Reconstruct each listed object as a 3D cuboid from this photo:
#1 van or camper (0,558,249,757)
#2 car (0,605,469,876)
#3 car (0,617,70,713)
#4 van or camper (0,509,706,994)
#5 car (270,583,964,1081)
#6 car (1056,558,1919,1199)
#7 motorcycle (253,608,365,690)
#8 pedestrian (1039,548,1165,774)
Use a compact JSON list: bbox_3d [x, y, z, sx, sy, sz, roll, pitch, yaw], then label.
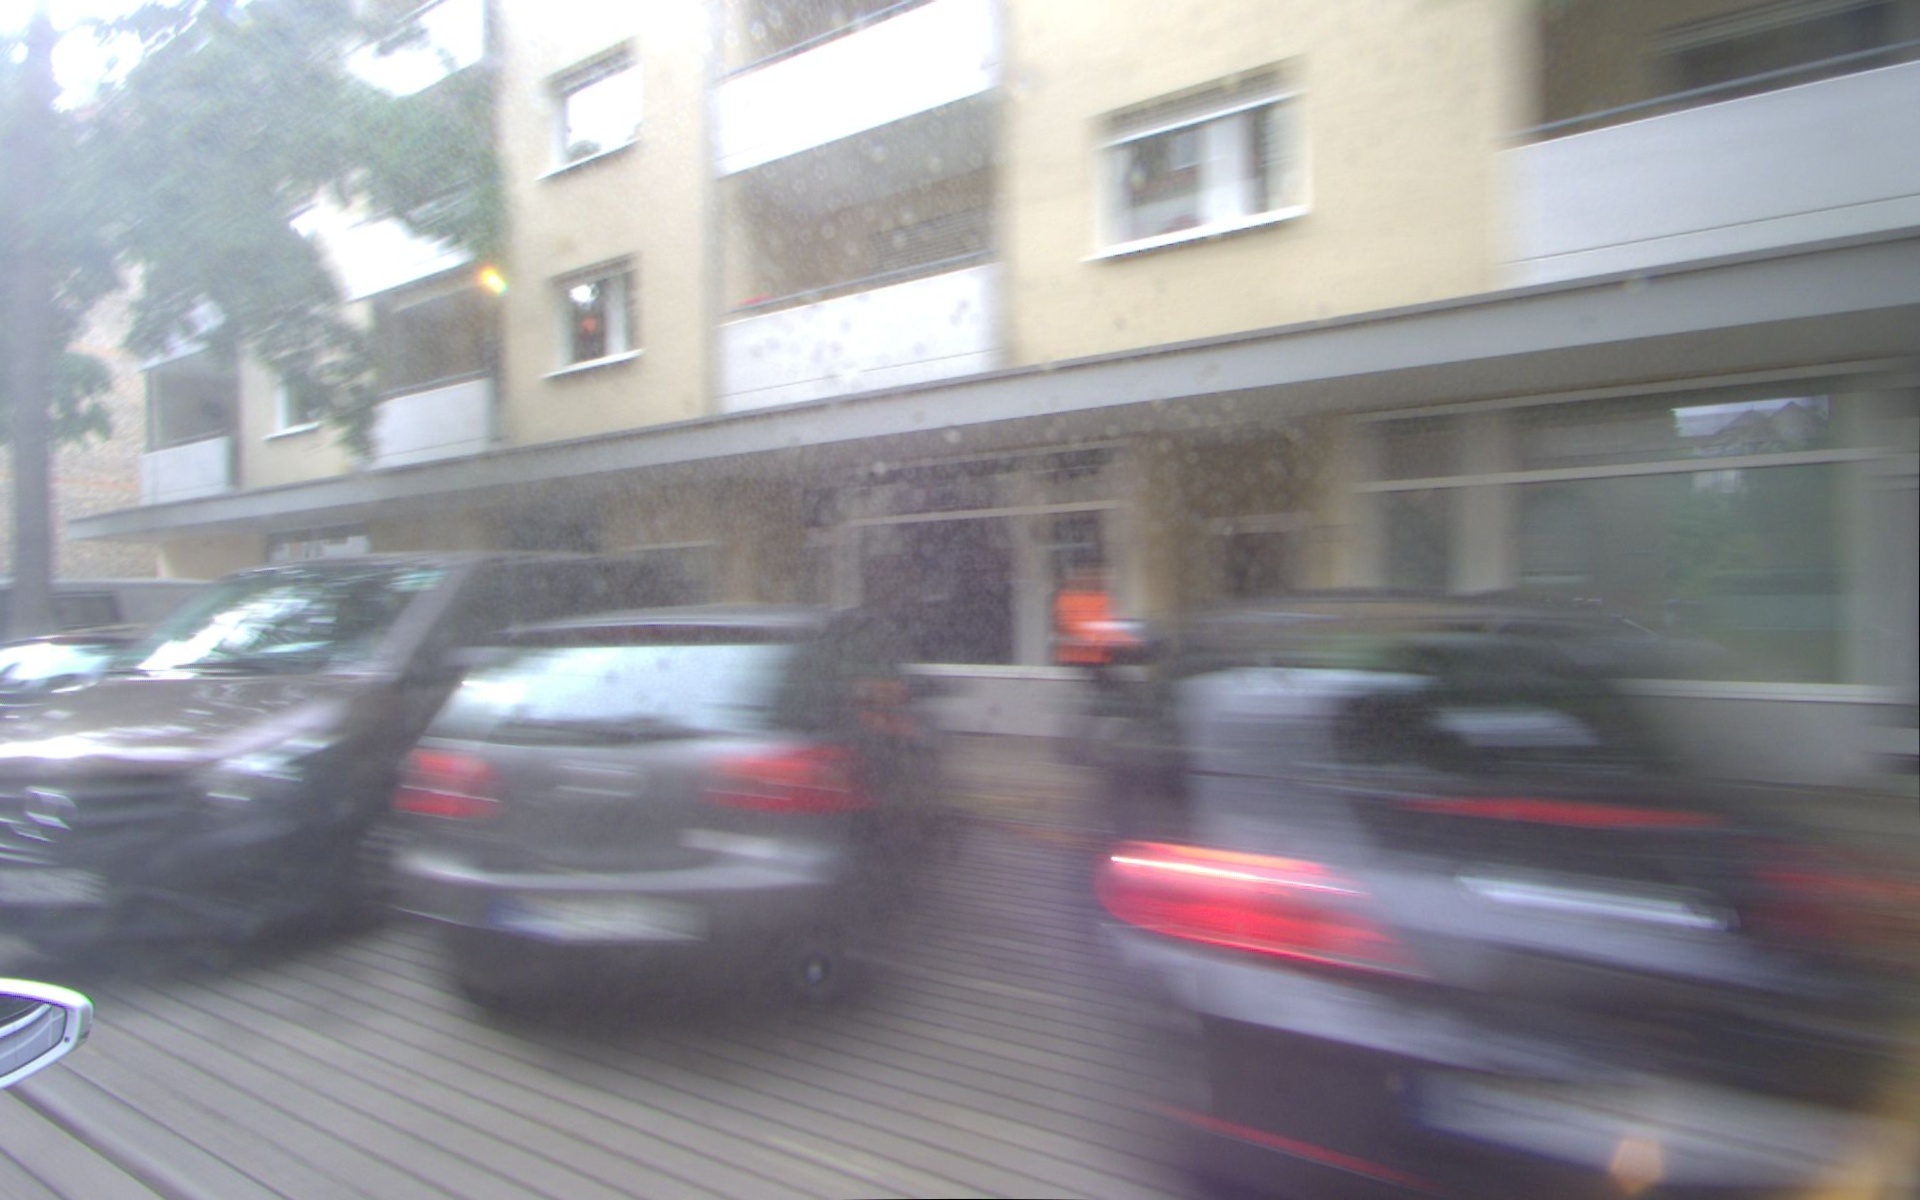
[{"bbox_3d":[-10.664,0.630,10.942,1.962,2.020,4.743,-3,0,7],"label":"van or camper"},{"bbox_3d":[-5.726,0.832,7.738,1.806,1.464,4.006,-1,1,1],"label":"car"},{"bbox_3d":[-15.484,1.033,14.148,1.886,1.411,4.313,-1,1,1],"label":"car"},{"bbox_3d":[-3.516,0.604,6.482,2.086,1.894,5.020,-1,0,4],"label":"van or camper"},{"bbox_3d":[-1.095,0.735,5.063,1.876,1.522,3.861,-1,0,5],"label":"car"},{"bbox_3d":[1.395,0.687,4.122,1.910,1.503,4.052,-1,0,5],"label":"car"},{"bbox_3d":[-11.232,0.823,17.252,2.220,1.319,0.676,-1,2,32],"label":"motorcycle"},{"bbox_3d":[1.183,0.485,8.307,0.837,1.765,0.623,-1,1,32],"label":"pedestrian"}]
